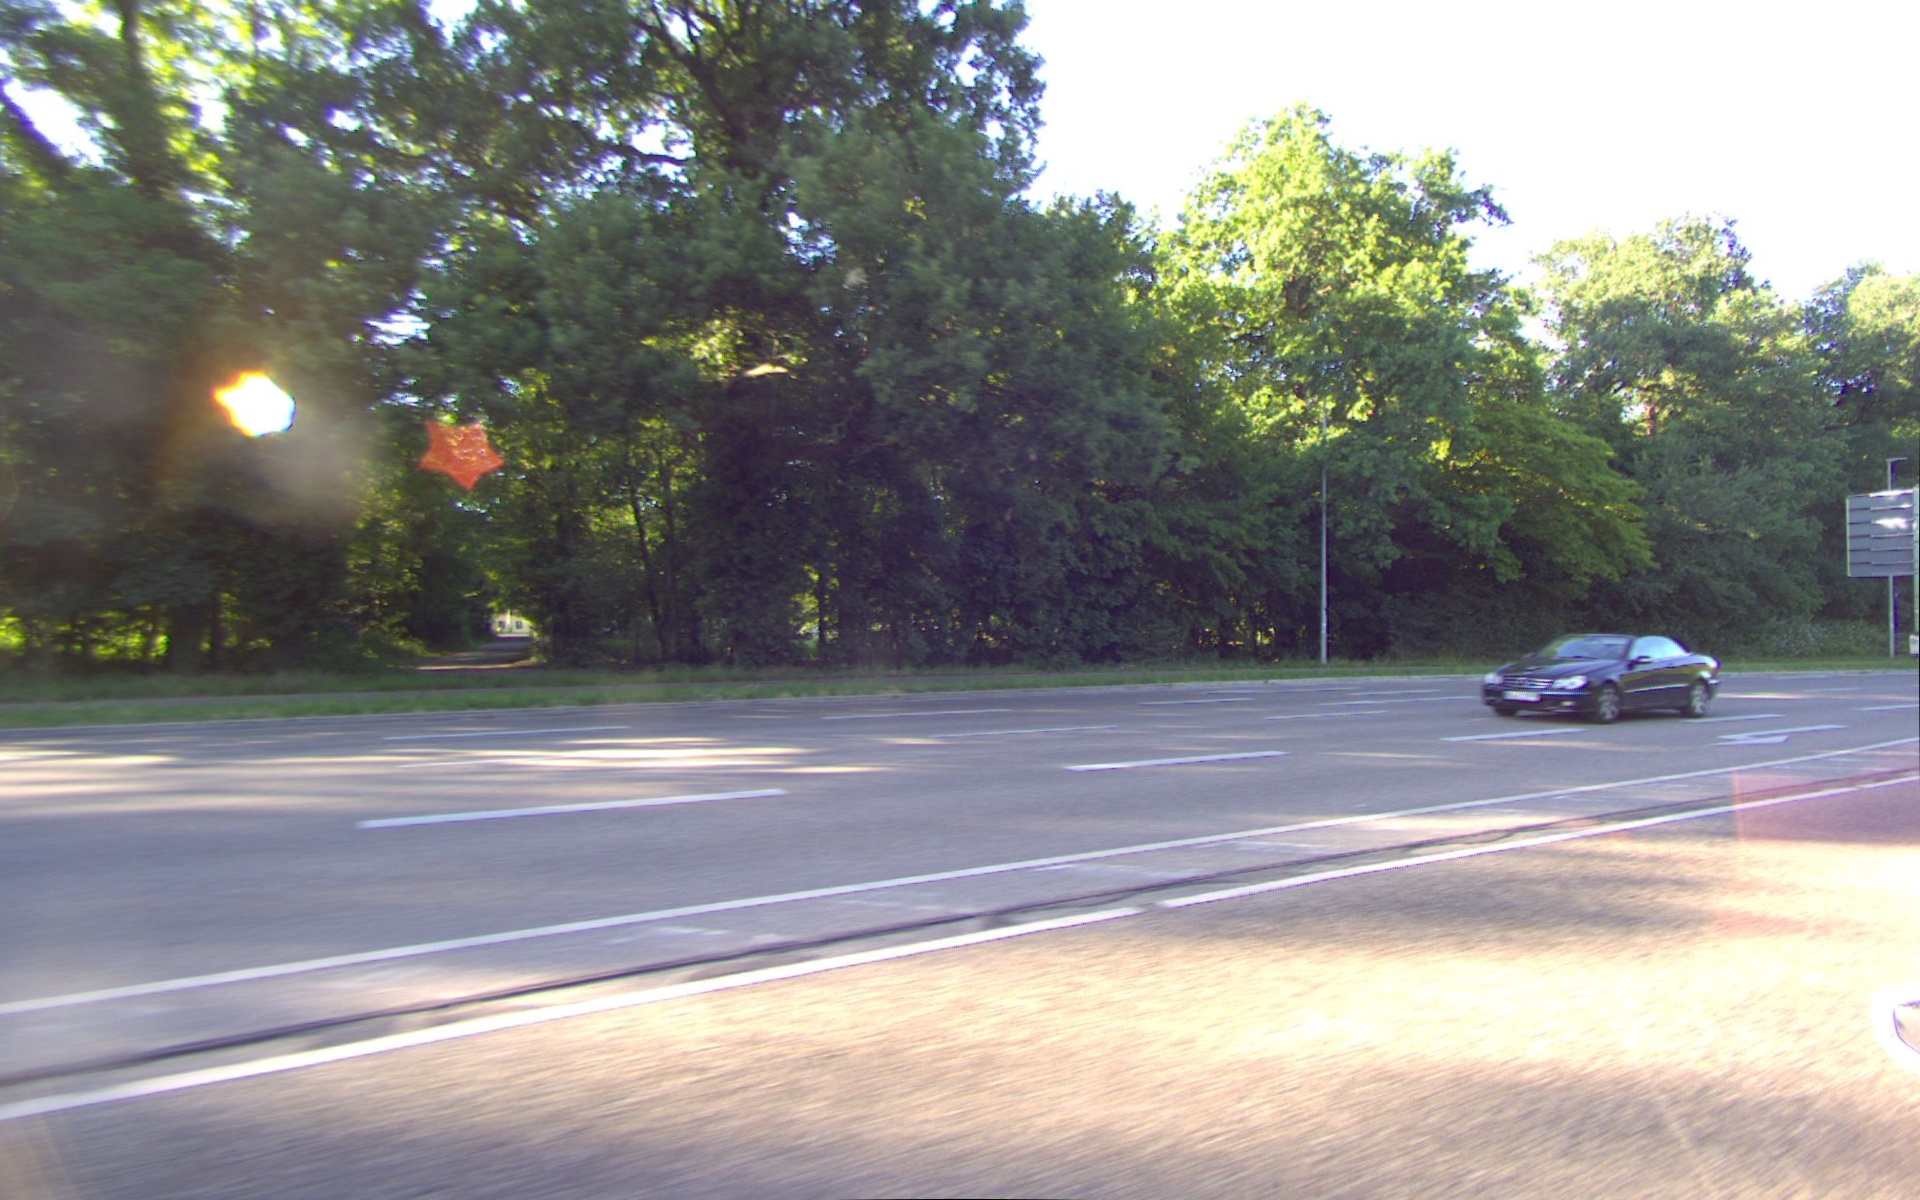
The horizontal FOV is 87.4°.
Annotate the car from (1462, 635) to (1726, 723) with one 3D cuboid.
[{"bbox_3d":[10.324,1.190,16.257,4.620,1.250,1.735,1,-2,-31],"label":"car"}]
